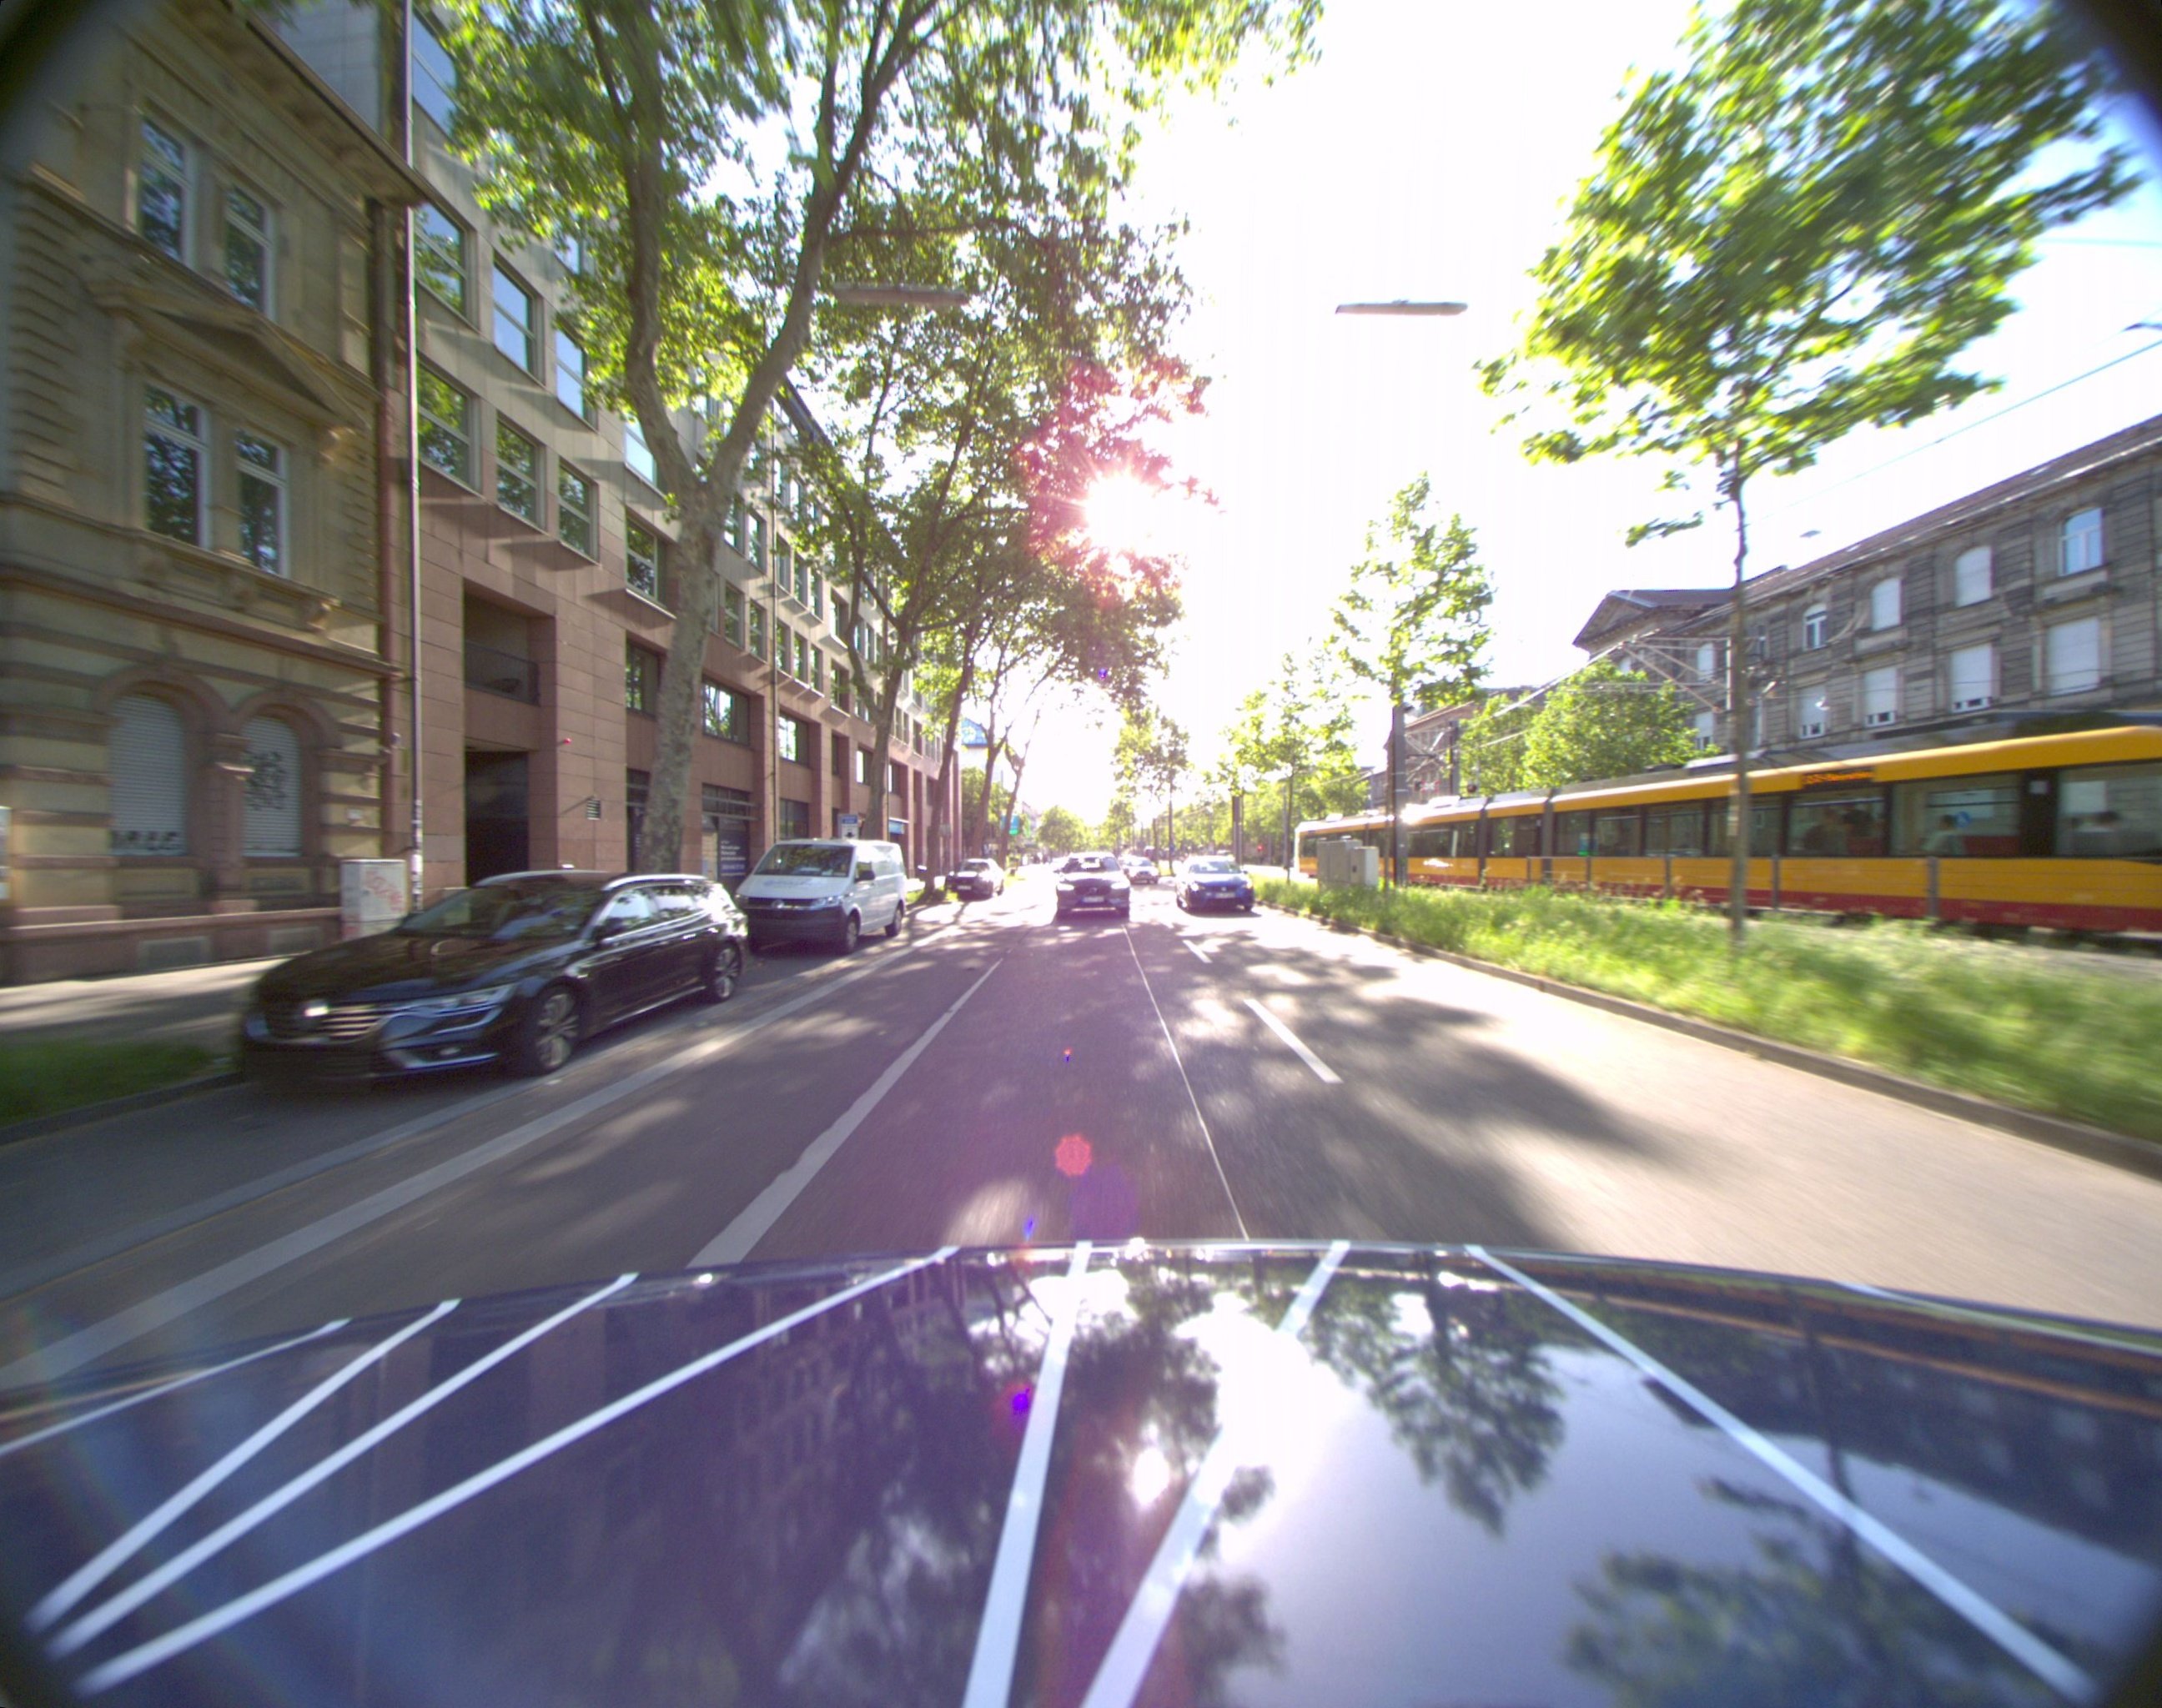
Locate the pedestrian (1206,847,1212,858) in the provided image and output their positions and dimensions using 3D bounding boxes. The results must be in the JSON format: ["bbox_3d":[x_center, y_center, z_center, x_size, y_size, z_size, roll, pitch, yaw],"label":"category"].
[{"bbox_3d":[19.308,-0.232,114.645,0.595,1.612,0.698,-3,1,-31],"label":"pedestrian"}]

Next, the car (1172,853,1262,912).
[{"bbox_3d":[3.685,0.717,21.213,1.778,1.440,3.868,-2,0,0],"label":"car"}]

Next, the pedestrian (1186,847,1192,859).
[{"bbox_3d":[16.805,-0.168,118.366,0.595,1.735,0.698,-3,1,-31],"label":"pedestrian"}]

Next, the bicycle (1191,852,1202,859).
[{"bbox_3d":[17.233,0.213,113.305,1.666,1.035,0.543,-2,1,-30],"label":"bicycle"}]

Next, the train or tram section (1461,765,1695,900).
[{"bbox_3d":[14.613,-0.577,23.024,2.964,3.463,6.058,-2,0,-2],"label":"train or tram section"}]

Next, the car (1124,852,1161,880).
[{"bbox_3d":[3.408,0.630,42.696,1.798,1.420,4.000,-2,1,1],"label":"car"}]

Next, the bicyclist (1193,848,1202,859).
[{"bbox_3d":[17.336,-0.082,113.162,0.970,1.634,0.833,-2,1,-31],"label":"bicyclist"}]

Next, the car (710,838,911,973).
[{"bbox_3d":[-4.665,0.773,13.988,1.861,2.002,4.723,-2,1,1],"label":"car"}]

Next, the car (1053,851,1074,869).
[{"bbox_3d":[-1.730,0.569,76.562,1.833,1.609,4.000,-2,1,1],"label":"car"}]

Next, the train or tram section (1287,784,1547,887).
[{"bbox_3d":[14.424,-0.646,36.727,2.971,3.463,21.215,-2,0,0],"label":"train or tram section"}]

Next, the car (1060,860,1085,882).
[{"bbox_3d":[-0.610,1.144,52.797,1.605,1.387,3.999,-2,1,-2],"label":"car"}]

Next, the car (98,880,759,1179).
[{"bbox_3d":[-4.851,1.120,6.848,1.823,1.506,4.707,-2,1,0],"label":"car"}]

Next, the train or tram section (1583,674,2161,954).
[{"bbox_3d":[14.763,-0.544,14.268,2.969,3.463,11.285,-2,0,-1],"label":"train or tram section"}]

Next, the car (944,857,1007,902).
[{"bbox_3d":[-4.115,0.966,30.291,1.672,1.561,4.280,-2,1,2],"label":"car"}]

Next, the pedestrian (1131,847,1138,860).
[{"bbox_3d":[8.873,-0.088,125.598,0.785,2.175,0.801,-2,1,22],"label":"pedestrian"}]

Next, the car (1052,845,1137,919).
[{"bbox_3d":[0.320,0.641,20.097,1.949,1.690,5.306,-1,0,0],"label":"car"}]
